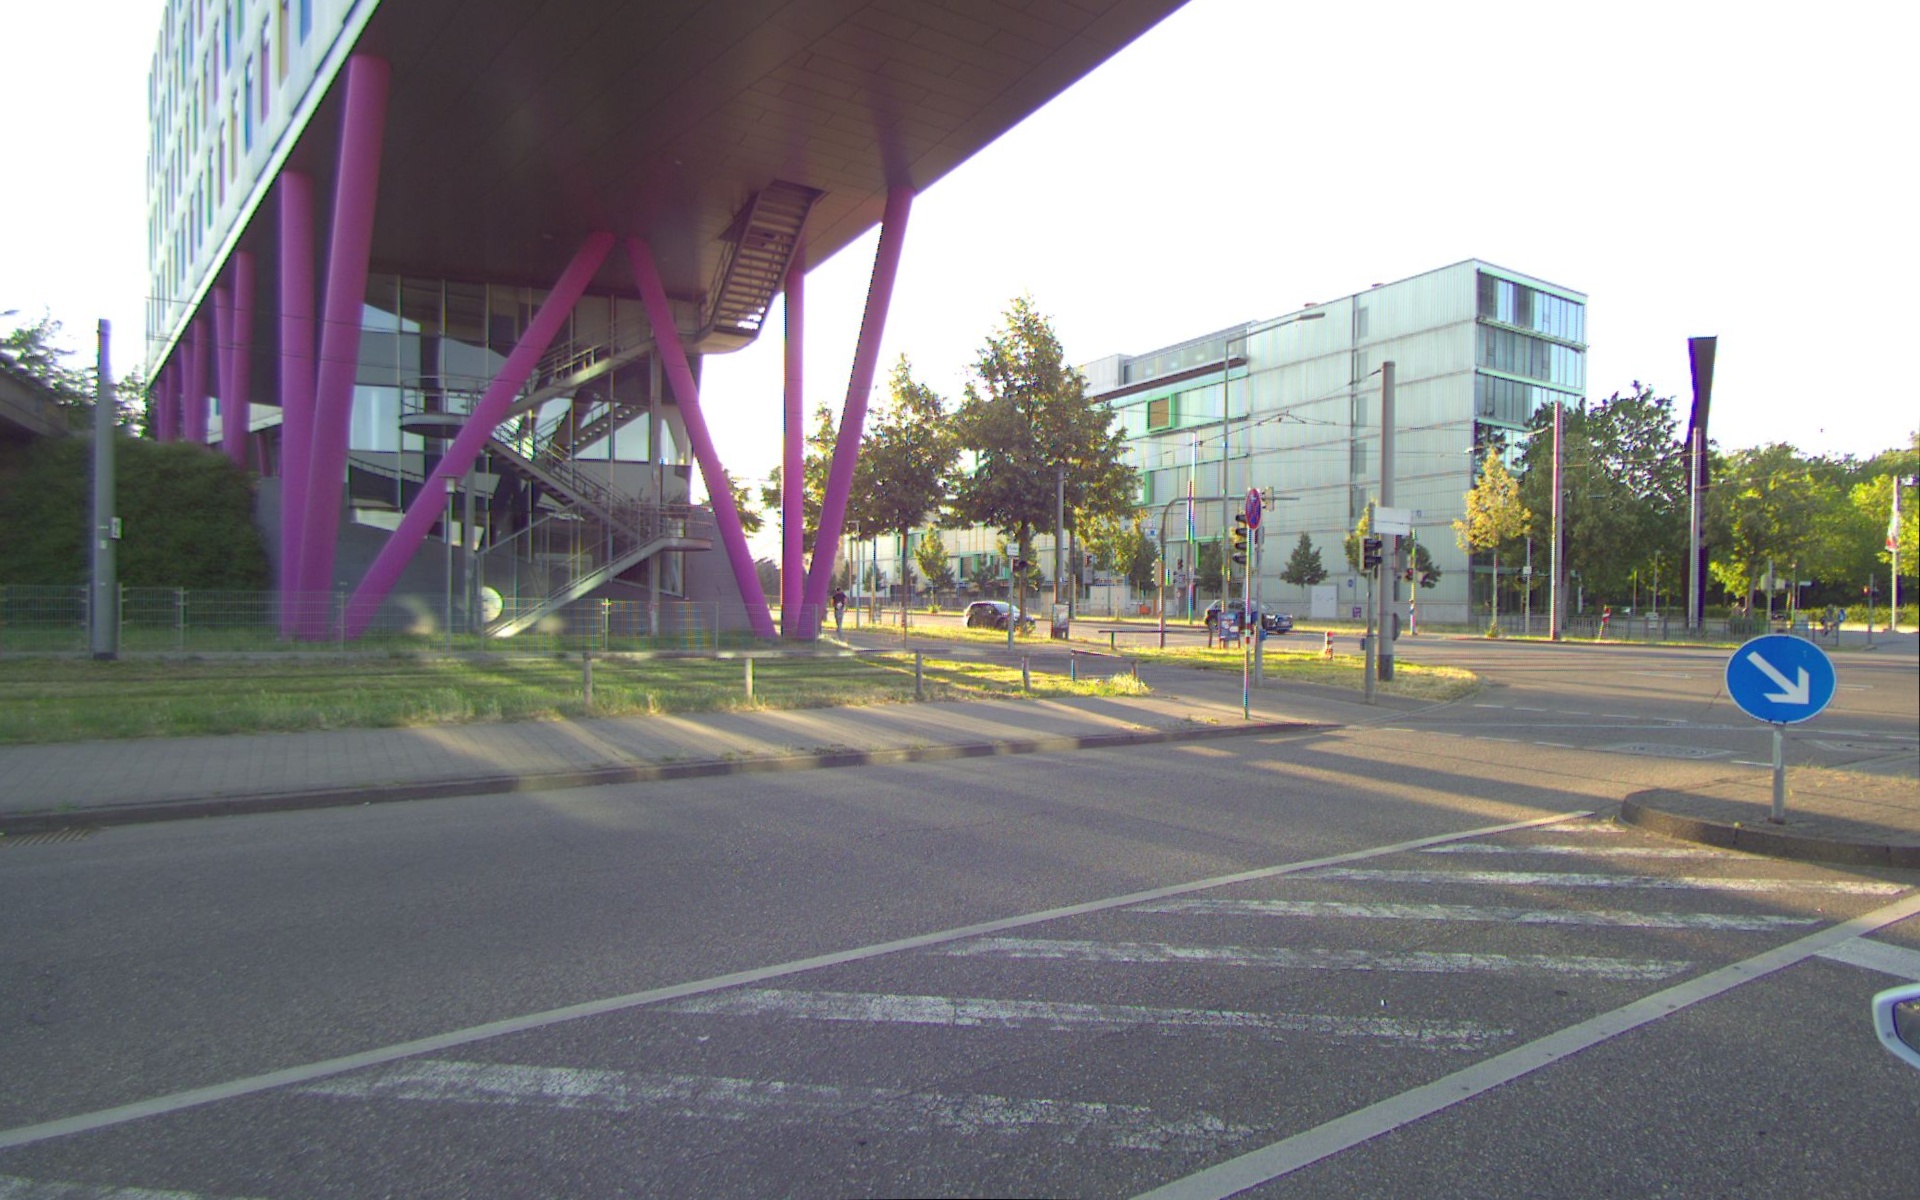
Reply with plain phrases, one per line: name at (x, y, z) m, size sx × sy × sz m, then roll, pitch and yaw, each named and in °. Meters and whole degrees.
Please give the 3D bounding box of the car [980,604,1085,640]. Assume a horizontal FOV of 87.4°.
car at (3.322, 1.004, 46.998) m, size 1.972 × 1.531 × 4.964 m, roll 1°, pitch 0°, yaw -41°

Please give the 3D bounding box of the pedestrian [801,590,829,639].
pedestrian at (-5.240, 0.532, 36.333) m, size 0.754 × 1.727 × 0.881 m, roll 1°, pitch -2°, yaw -28°

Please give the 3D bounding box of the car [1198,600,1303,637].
car at (13.300, 0.808, 46.198) m, size 1.968 × 1.577 × 4.448 m, roll 1°, pitch 0°, yaw -34°

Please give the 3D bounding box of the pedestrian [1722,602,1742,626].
pedestrian at (57.651, 1.023, 75.022) m, size 0.814 × 1.767 × 0.863 m, roll 1°, pitch 0°, yaw 2°

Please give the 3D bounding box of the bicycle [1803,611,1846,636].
bicycle at (49.871, 1.357, 57.986) m, size 0.717 × 1.359 × 2.692 m, roll 1°, pitch 0°, yaw 13°

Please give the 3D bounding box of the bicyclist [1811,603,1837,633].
bicyclist at (49.688, 1.017, 57.749) m, size 0.738 × 1.732 × 0.920 m, roll 1°, pitch 0°, yaw 11°

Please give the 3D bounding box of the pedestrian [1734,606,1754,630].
pedestrian at (58.528, 1.314, 74.965) m, size 0.814 × 1.767 × 0.863 m, roll 1°, pitch 0°, yaw -1°

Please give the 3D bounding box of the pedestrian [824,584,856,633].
pedestrian at (-4.376, 0.315, 36.500) m, size 0.921 × 1.747 × 0.877 m, roll 1°, pitch -2°, yaw -27°
